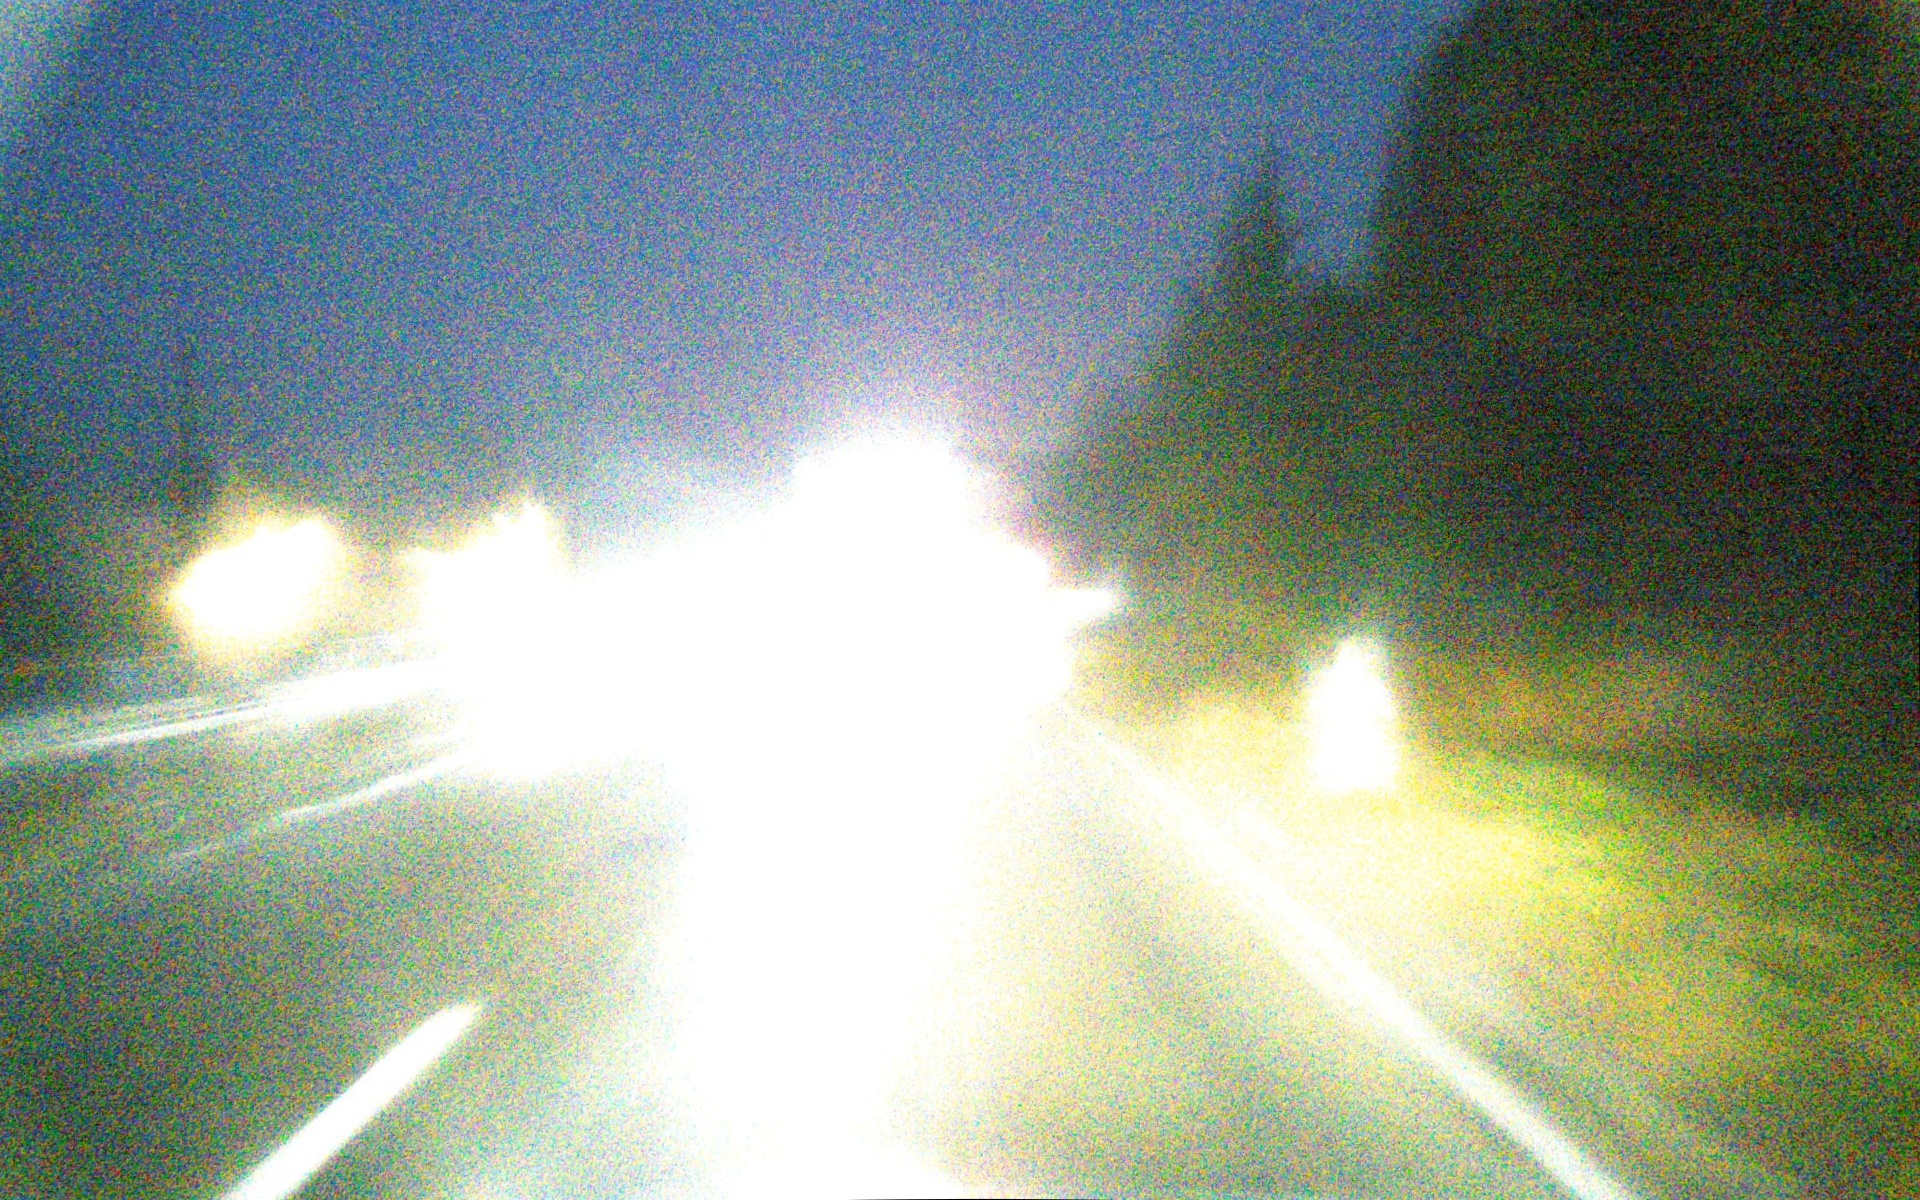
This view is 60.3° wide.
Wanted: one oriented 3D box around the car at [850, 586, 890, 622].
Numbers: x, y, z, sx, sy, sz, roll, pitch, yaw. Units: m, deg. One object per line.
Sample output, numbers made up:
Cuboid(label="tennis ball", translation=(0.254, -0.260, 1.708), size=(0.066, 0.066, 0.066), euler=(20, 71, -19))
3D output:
Cuboid(label="car", translation=(-4.652, 0.174, 86.020), size=(1.817, 1.712, 4.324), euler=(-2, 1, -1))

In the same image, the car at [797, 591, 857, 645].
Cuboid(label="car", translation=(-4.264, 0.550, 53.388), size=(1.759, 1.564, 3.799), euler=(-2, 1, -3))

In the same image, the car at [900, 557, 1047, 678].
Cuboid(label="car", translation=(0.158, 0.290, 29.674), size=(2.408, 1.993, 4.910), euler=(0, 0, -2))
